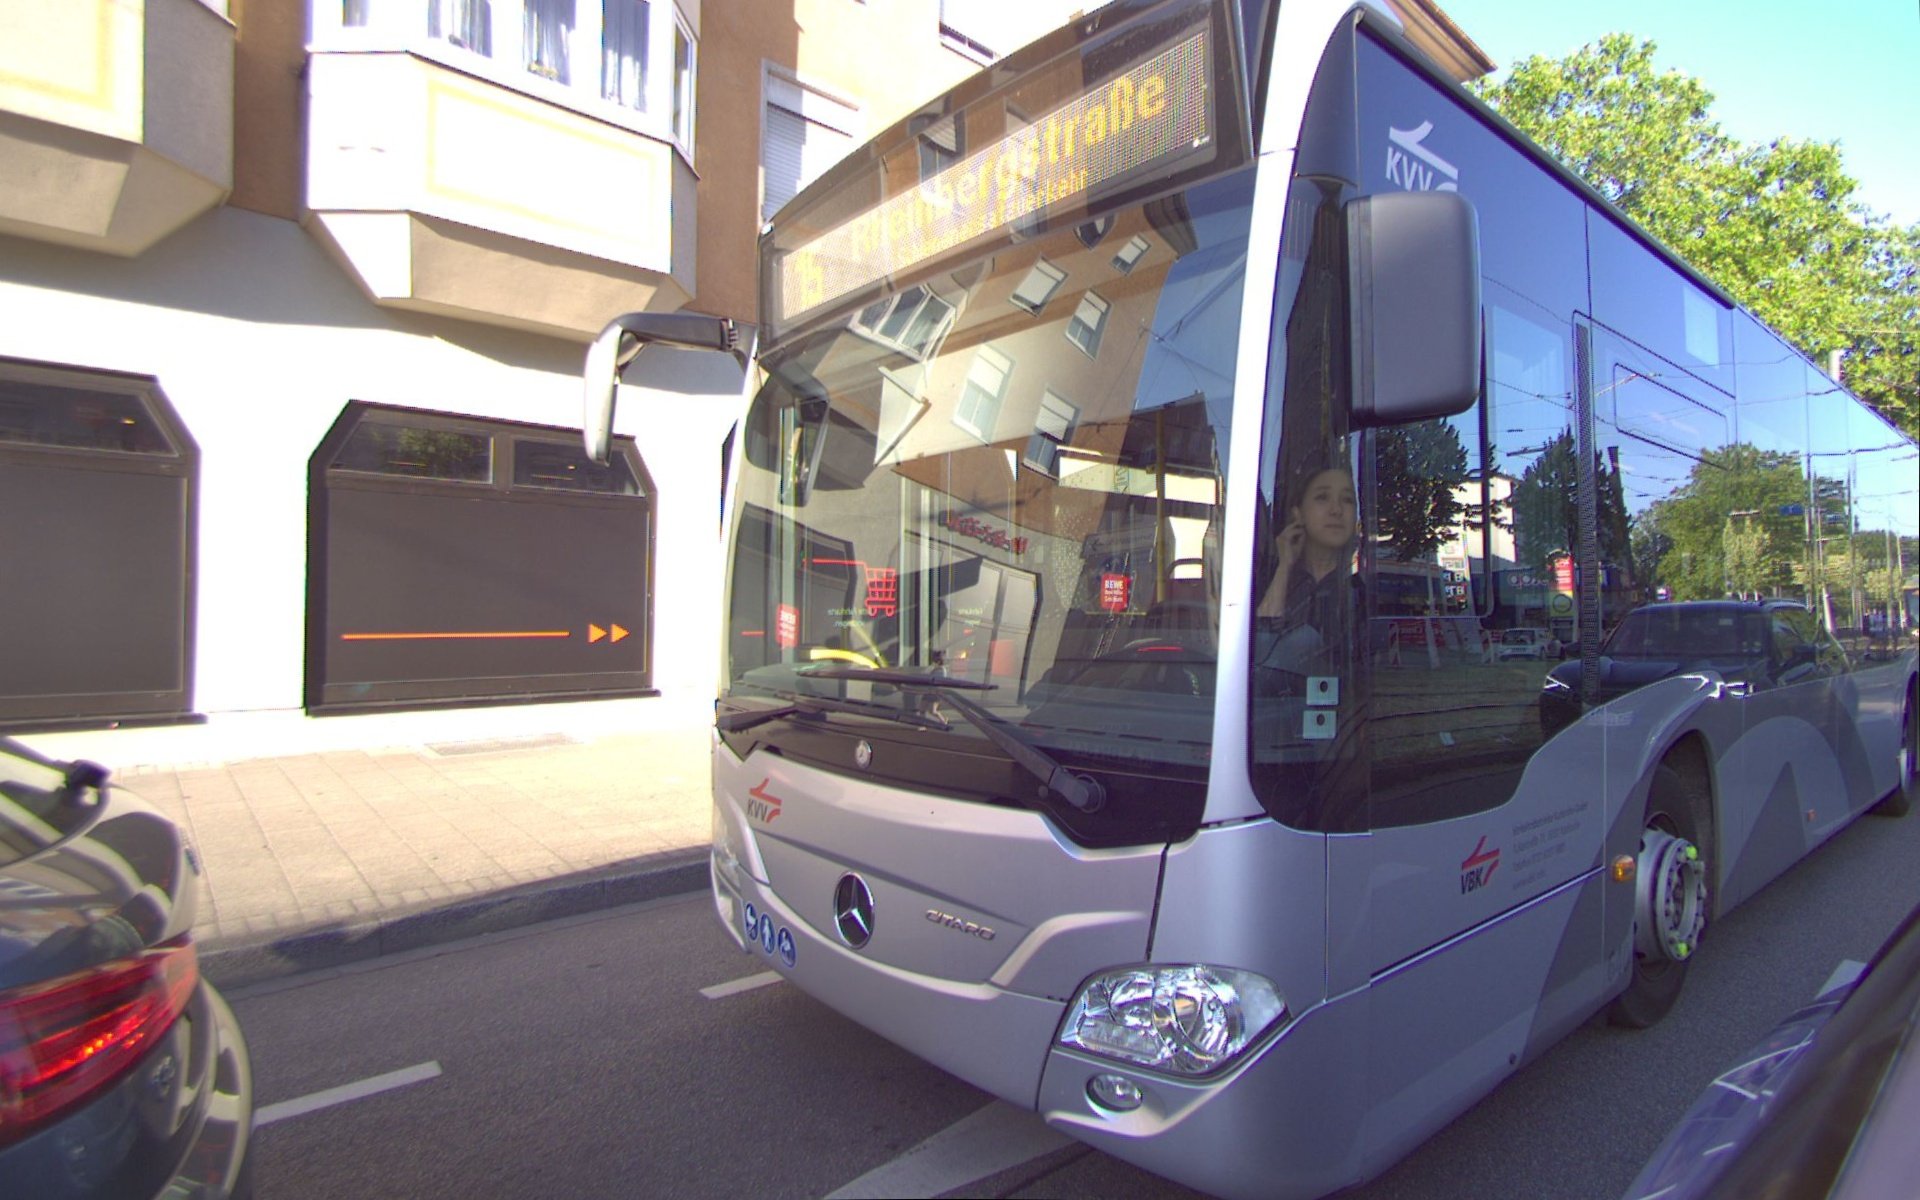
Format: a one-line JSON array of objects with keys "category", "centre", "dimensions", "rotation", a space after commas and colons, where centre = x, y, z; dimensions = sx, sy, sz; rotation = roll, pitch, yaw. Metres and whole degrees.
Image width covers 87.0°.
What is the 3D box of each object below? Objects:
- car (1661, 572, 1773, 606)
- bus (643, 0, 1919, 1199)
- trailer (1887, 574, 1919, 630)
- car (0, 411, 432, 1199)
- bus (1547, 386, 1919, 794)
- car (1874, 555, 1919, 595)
[{"category": "car", "centre": [37.482, -0.497, 50.187], "dimensions": [1.770, 1.570, 4.120], "rotation": [1, -1, -39]}, {"category": "bus", "centre": [3.104, -0.098, 5.637], "dimensions": [8.971, 3.095, 2.743], "rotation": [0, -1, -41]}, {"category": "trailer", "centre": [46.224, 0.105, 48.662], "dimensions": [4.569, 2.620, 1.888], "rotation": [0, 1, -41]}, {"category": "car", "centre": [-2.715, 0.586, 0.544], "dimensions": [4.014, 1.595, 1.773], "rotation": [0, 1, -41]}, {"category": "bus", "centre": [9.762, -0.058, 11.454], "dimensions": [8.698, 3.095, 2.743], "rotation": [0, -1, -41]}, {"category": "car", "centre": [41.567, -1.066, 44.301], "dimensions": [3.930, 1.651, 1.799], "rotation": [1, 1, -41]}]
